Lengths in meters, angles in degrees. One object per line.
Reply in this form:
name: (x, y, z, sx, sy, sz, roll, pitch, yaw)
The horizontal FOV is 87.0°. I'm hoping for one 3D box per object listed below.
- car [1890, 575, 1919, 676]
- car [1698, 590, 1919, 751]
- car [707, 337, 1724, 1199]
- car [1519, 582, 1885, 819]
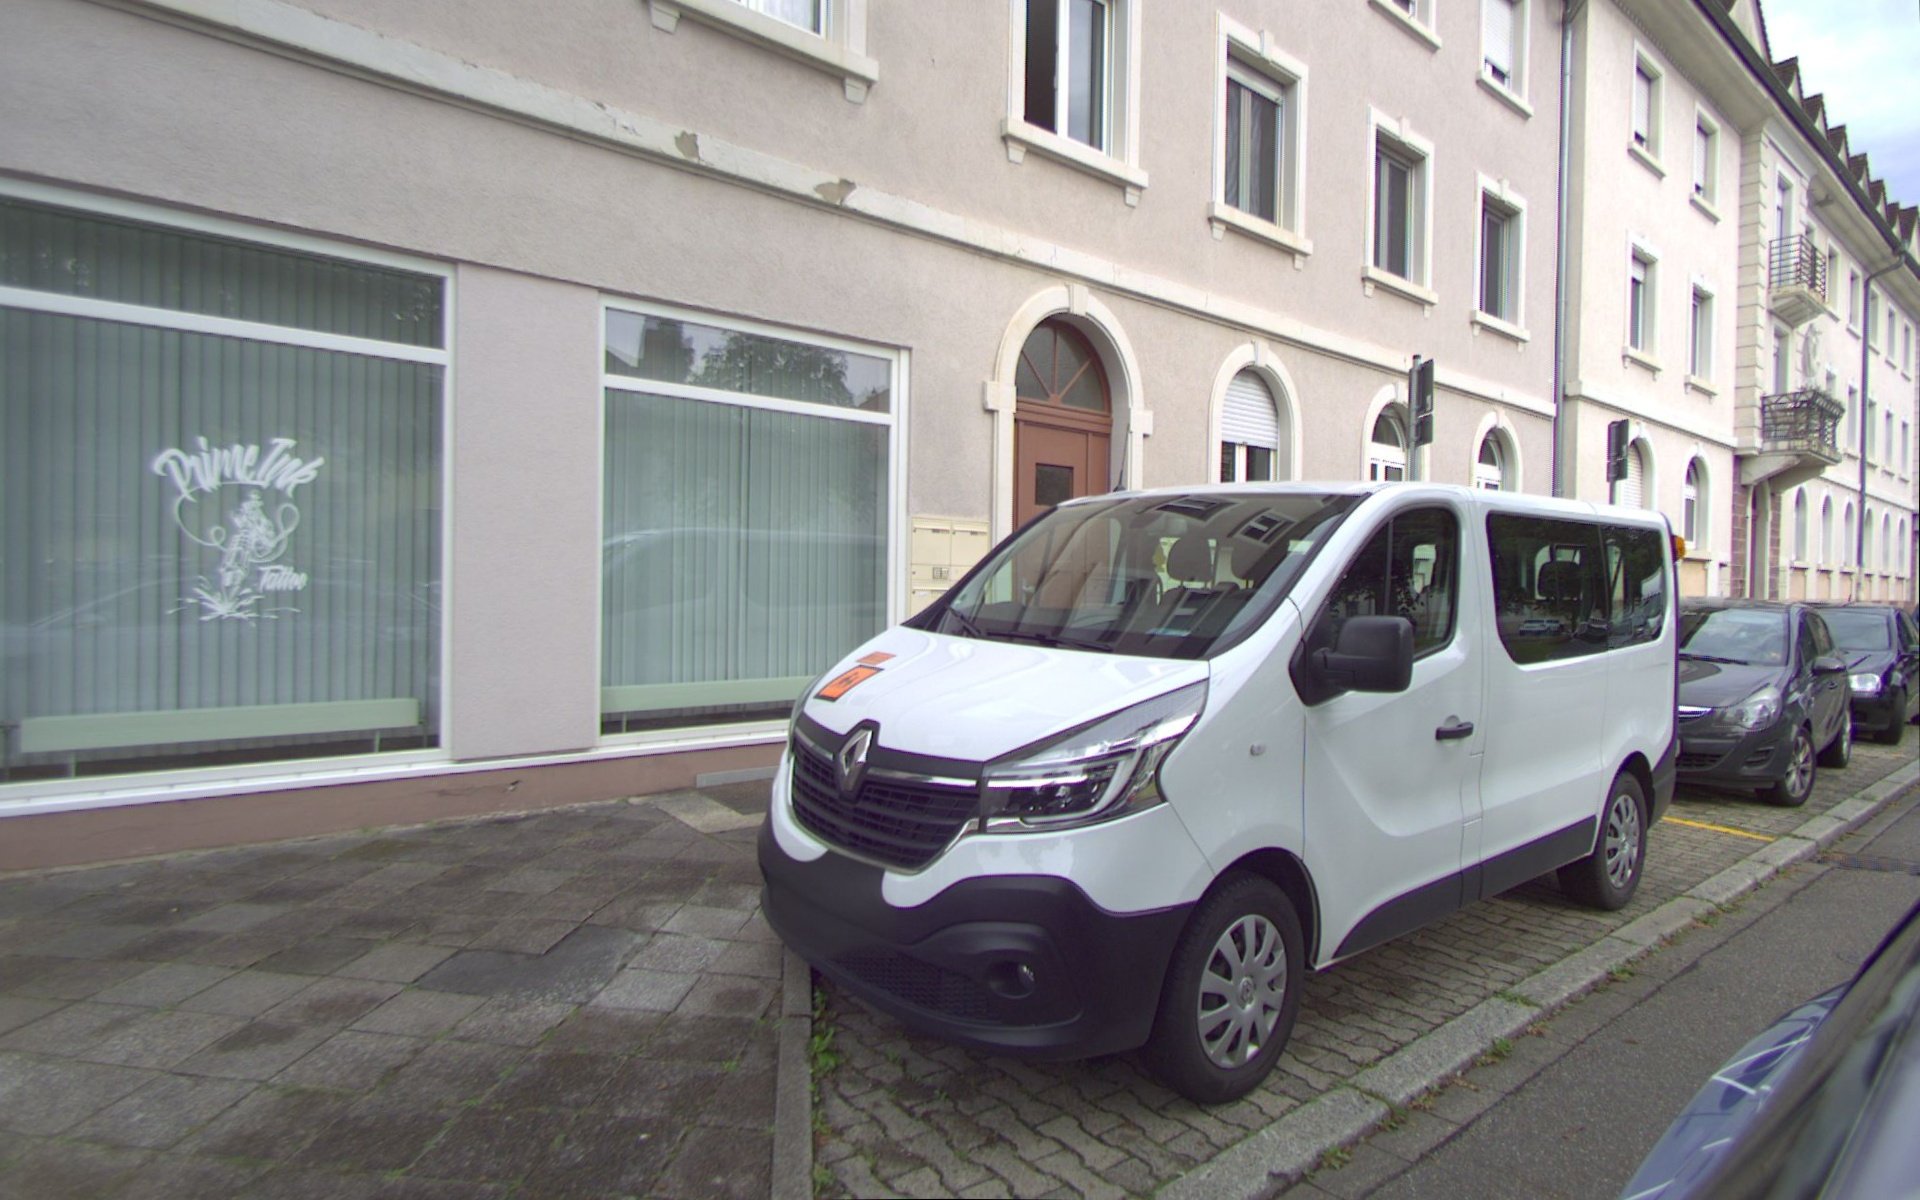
car: (19.233, 0.486, 19.020, 4.110, 1.807, 1.943, 0, 3, -39)
car: (10.427, 0.675, 11.889, 4.462, 1.471, 1.692, 0, 3, -39)
car: (1.559, 0.364, 4.612, 4.922, 2.020, 1.883, 0, 2, -39)
car: (6.373, 0.638, 8.539, 3.835, 1.471, 1.691, 0, 4, -42)
